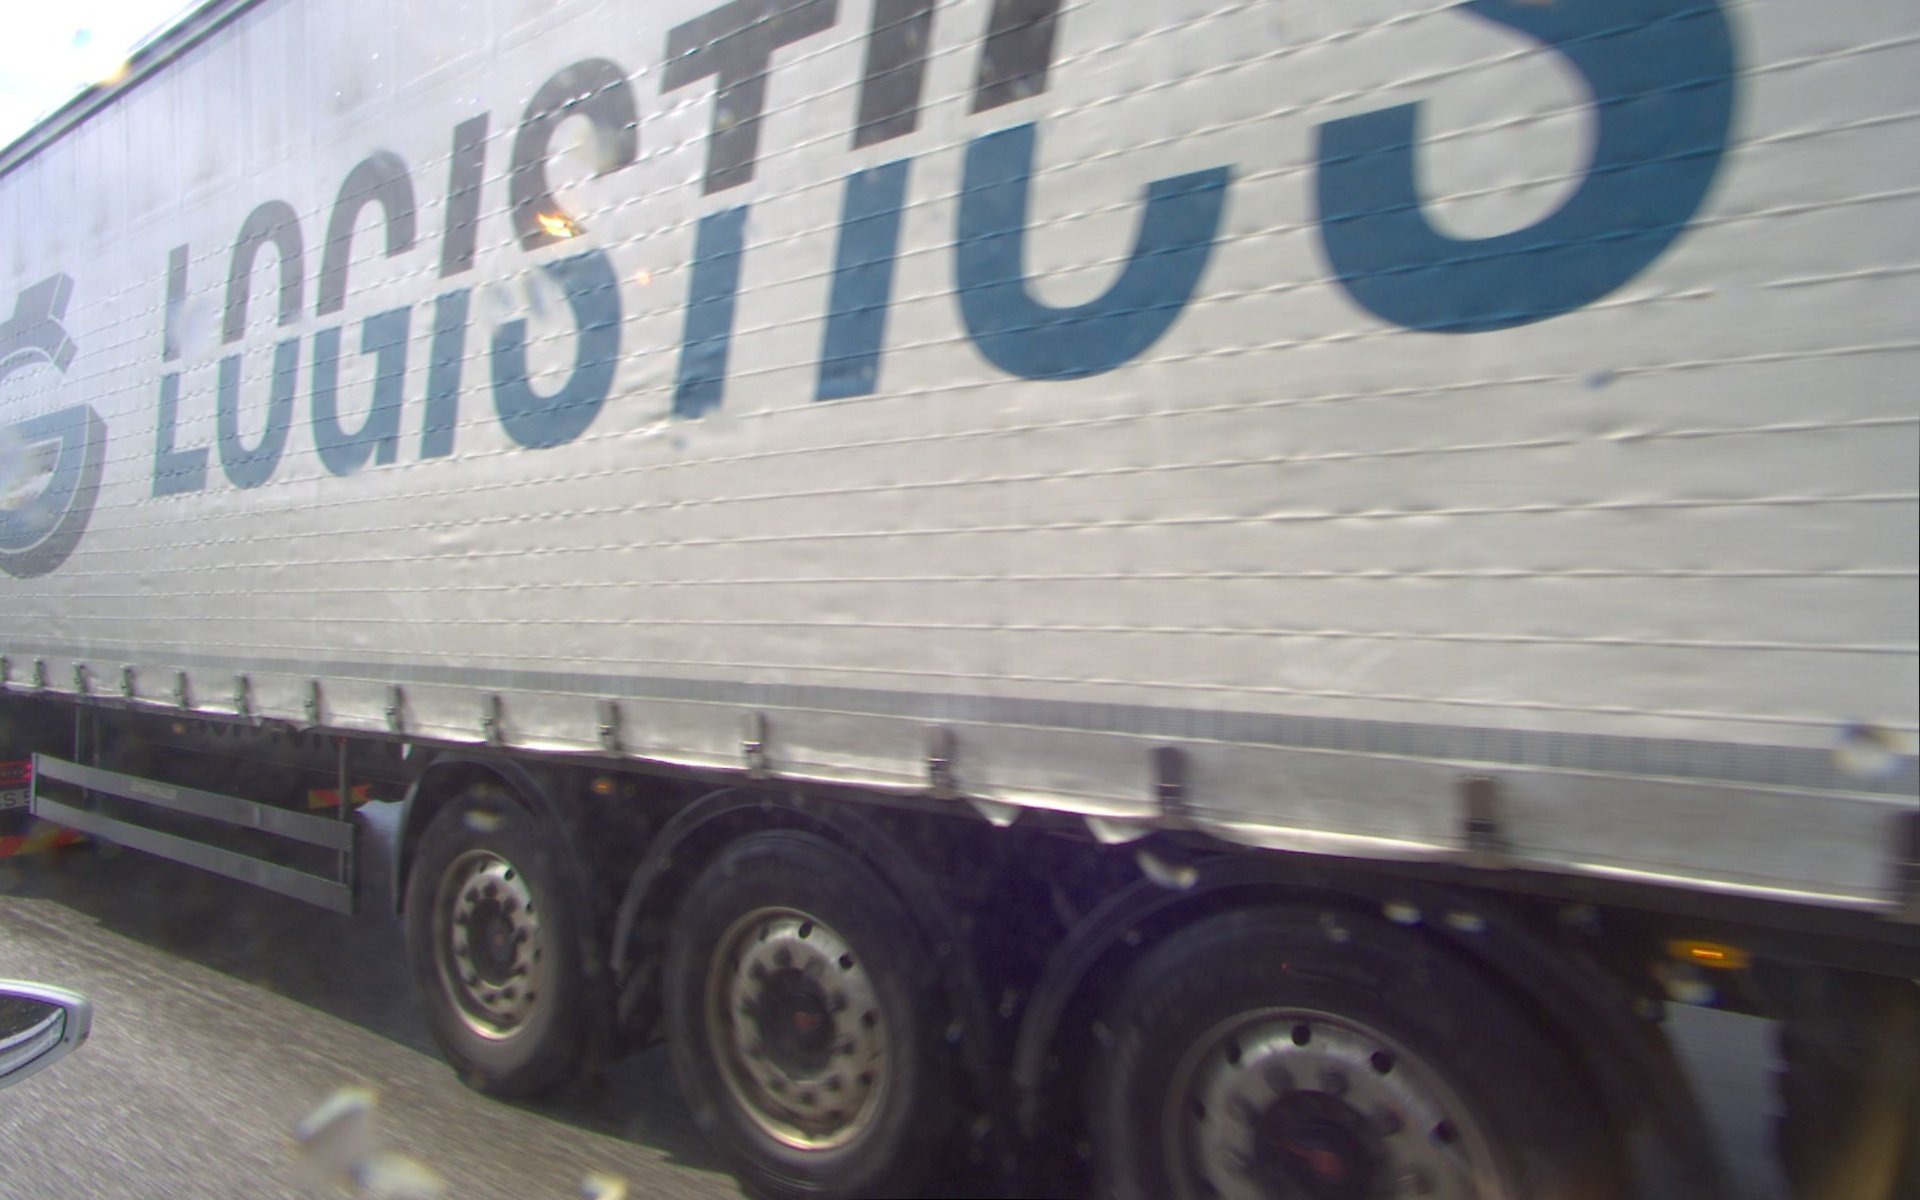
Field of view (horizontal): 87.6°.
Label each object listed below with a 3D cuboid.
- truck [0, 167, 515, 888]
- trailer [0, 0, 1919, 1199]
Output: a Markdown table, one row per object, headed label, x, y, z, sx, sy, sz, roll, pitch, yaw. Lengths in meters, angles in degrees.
| label | x | y | z | sx | sy | sz | roll | pitch | yaw |
| --- | --- | --- | --- | --- | --- | --- | --- | --- | --- |
| truck | -7.157 | -0.308 | 8.415 | 6.304 | 3.940 | 3.279 | -1 | -2 | 32 |
| trailer | -1.747 | -0.377 | 5.014 | 13.925 | 3.948 | 3.279 | -1 | -2 | 32 |
